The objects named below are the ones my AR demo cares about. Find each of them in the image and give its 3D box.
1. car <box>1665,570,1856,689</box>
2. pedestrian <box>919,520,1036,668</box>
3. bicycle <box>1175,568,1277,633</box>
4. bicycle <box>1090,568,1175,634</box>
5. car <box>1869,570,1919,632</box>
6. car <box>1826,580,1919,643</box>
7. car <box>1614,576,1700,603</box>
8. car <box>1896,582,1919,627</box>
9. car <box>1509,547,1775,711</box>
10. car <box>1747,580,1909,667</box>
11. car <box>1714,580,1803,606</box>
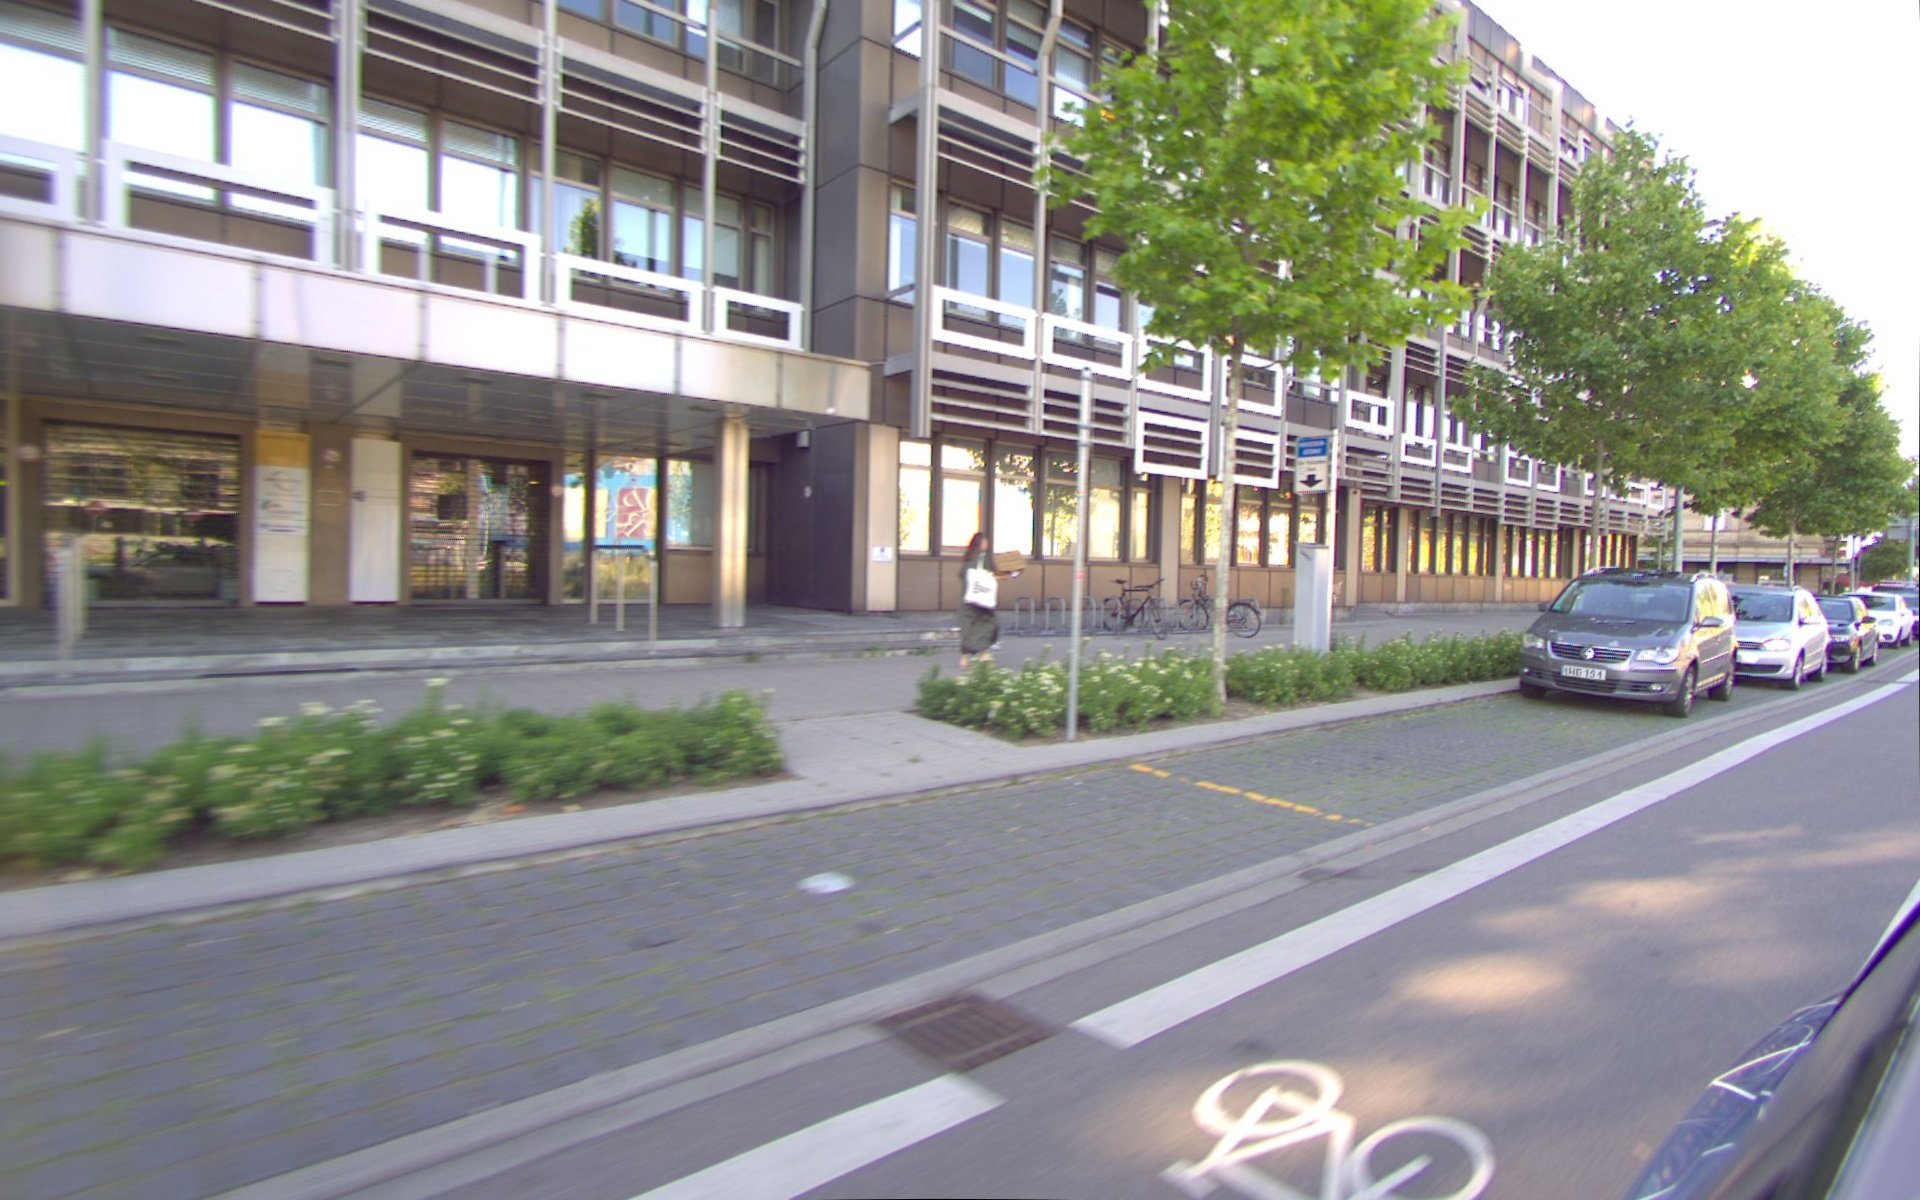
[{"bbox_3d":[13.360,0.403,16.810,4.144,1.641,1.731,0,4,-42],"label":"car"},{"bbox_3d":[0.210,-0.091,12.108,1.117,1.668,0.791,0,3,-40],"label":"pedestrian"},{"bbox_3d":[5.077,-0.008,19.405,1.901,1.106,0.386,5,4,44],"label":"bicycle"},{"bbox_3d":[3.084,-0.004,18.198,0.385,1.095,1.632,0,3,-38],"label":"bicycle"},{"bbox_3d":[32.454,0.037,34.504,4.320,1.942,1.737,0,4,-44],"label":"car"},{"bbox_3d":[25.392,0.272,27.850,4.130,1.507,1.668,0,4,-41],"label":"car"},{"bbox_3d":[45.507,-0.717,66.139,4.531,1.614,1.838,3,3,38],"label":"car"},{"bbox_3d":[37.689,0.196,39.227,1.931,1.618,4.627,6,4,42],"label":"car"},{"bbox_3d":[8.878,0.277,13.021,4.437,1.708,1.731,0,4,-42],"label":"car"},{"bbox_3d":[17.484,0.405,20.317,4.300,1.466,1.799,0,4,-41],"label":"car"},{"bbox_3d":[49.568,-0.457,62.955,4.253,1.467,1.838,3,3,38],"label":"car"}]
